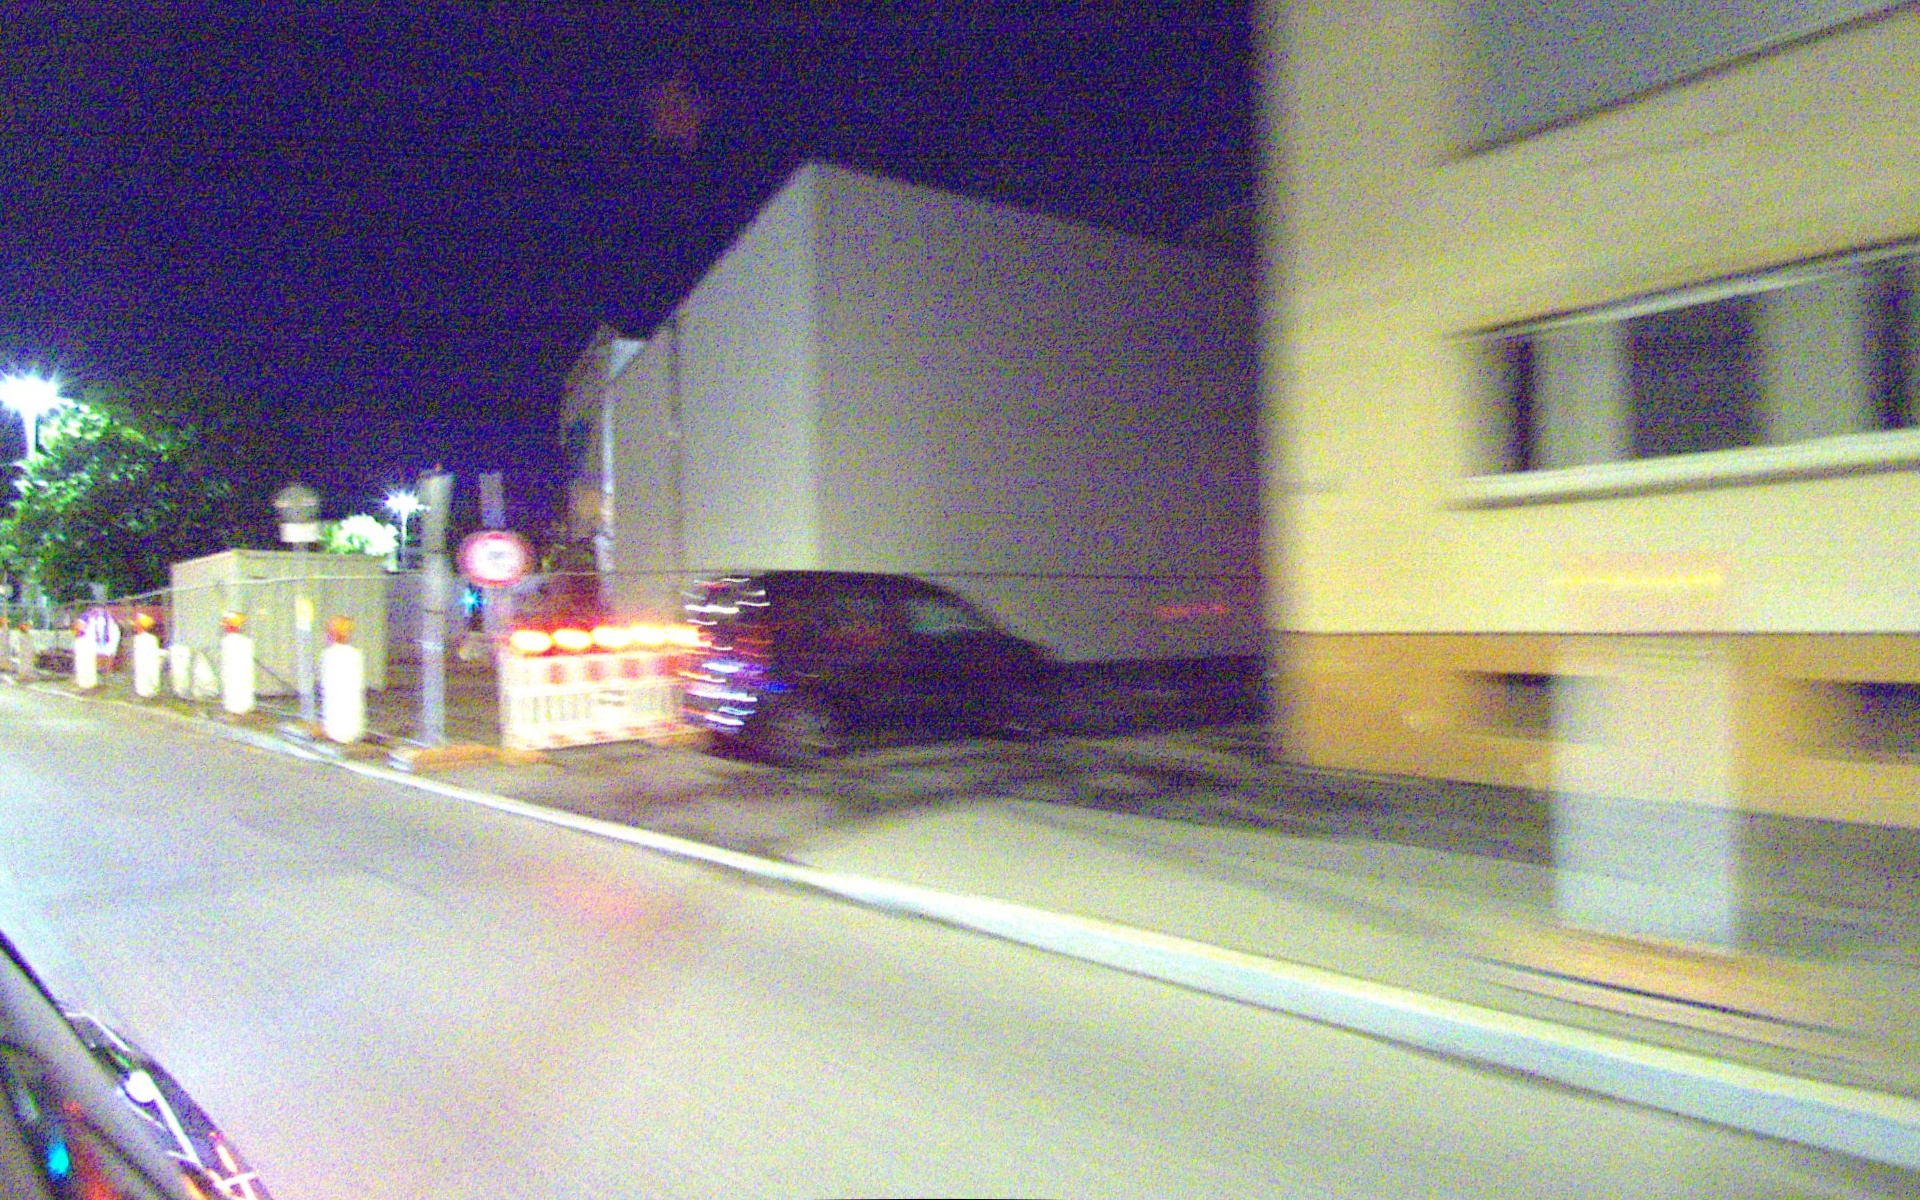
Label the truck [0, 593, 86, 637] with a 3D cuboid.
[{"bbox_3d":[-79.965,1.283,87.776,6.106,3.722,2.407,0,-1,-37],"label":"truck"}]

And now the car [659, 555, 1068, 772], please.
[{"bbox_3d":[-0.952,0.569,10.830,3.935,1.903,1.913,0,-1,-37],"label":"car"}]
